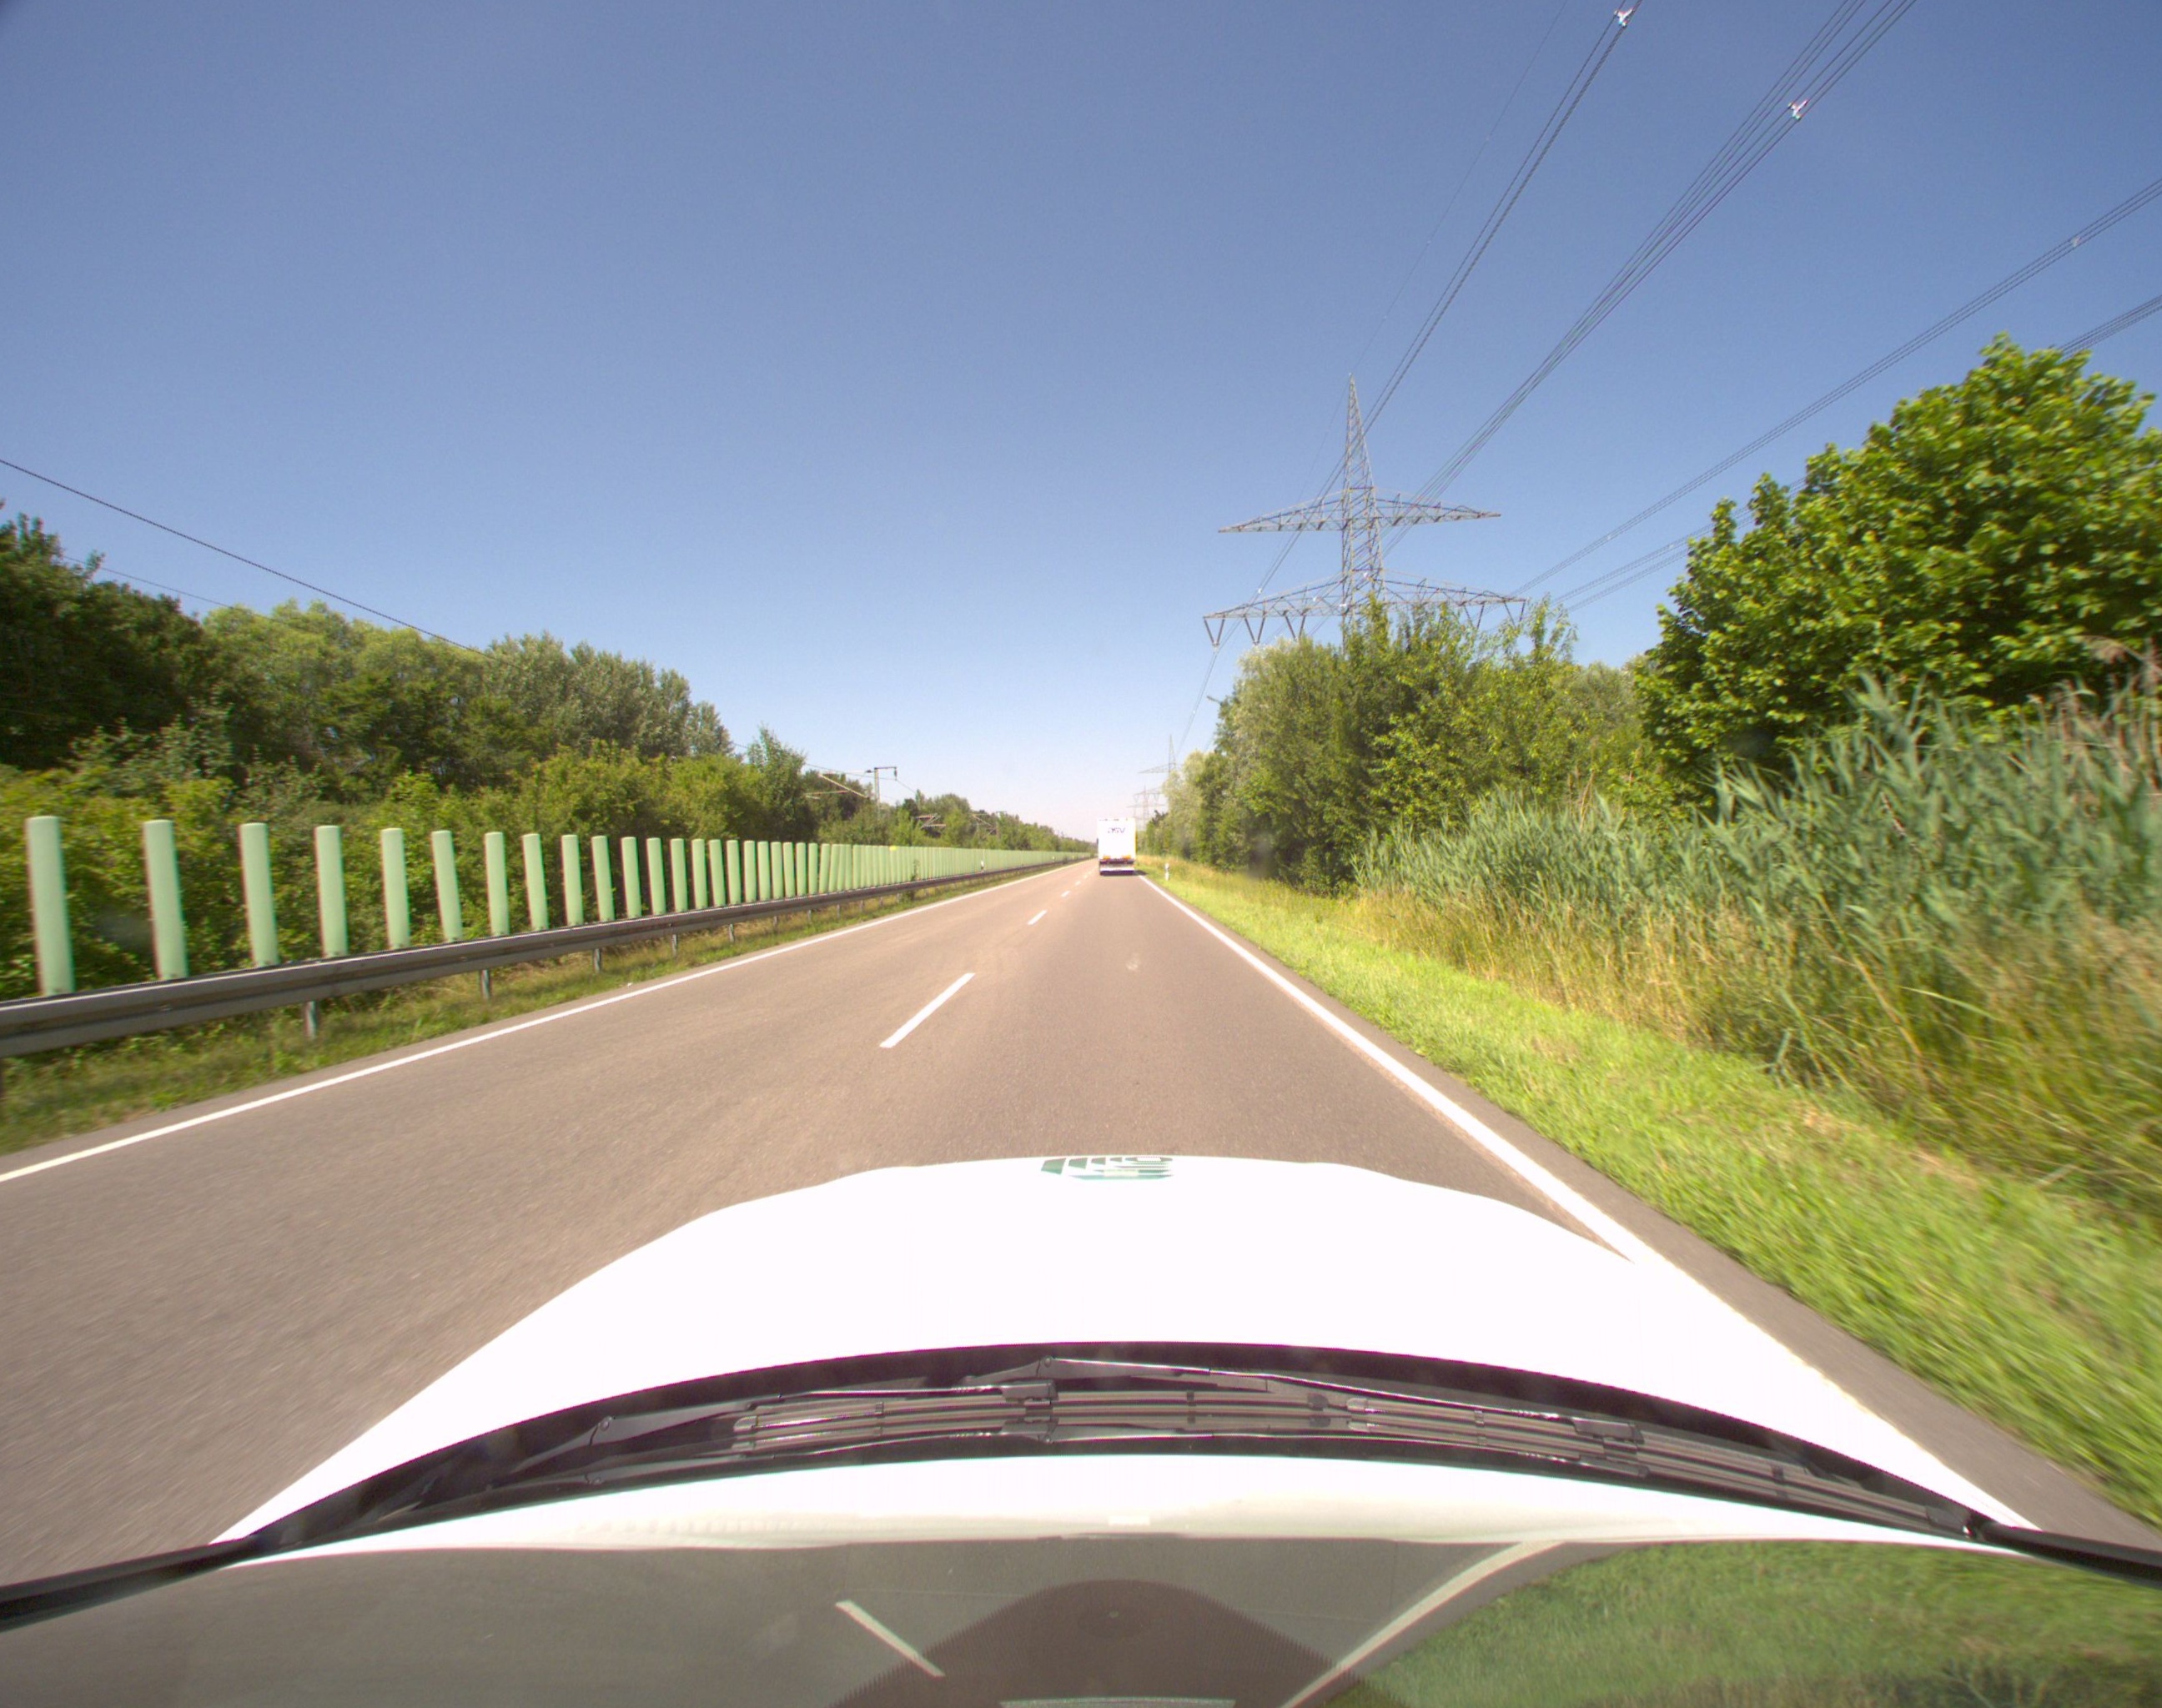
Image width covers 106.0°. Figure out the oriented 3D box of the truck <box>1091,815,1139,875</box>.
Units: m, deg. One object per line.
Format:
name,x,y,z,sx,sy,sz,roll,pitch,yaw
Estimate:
truck,2.552,-0.611,62.081,3.180,4.042,12.011,-2,0,2
